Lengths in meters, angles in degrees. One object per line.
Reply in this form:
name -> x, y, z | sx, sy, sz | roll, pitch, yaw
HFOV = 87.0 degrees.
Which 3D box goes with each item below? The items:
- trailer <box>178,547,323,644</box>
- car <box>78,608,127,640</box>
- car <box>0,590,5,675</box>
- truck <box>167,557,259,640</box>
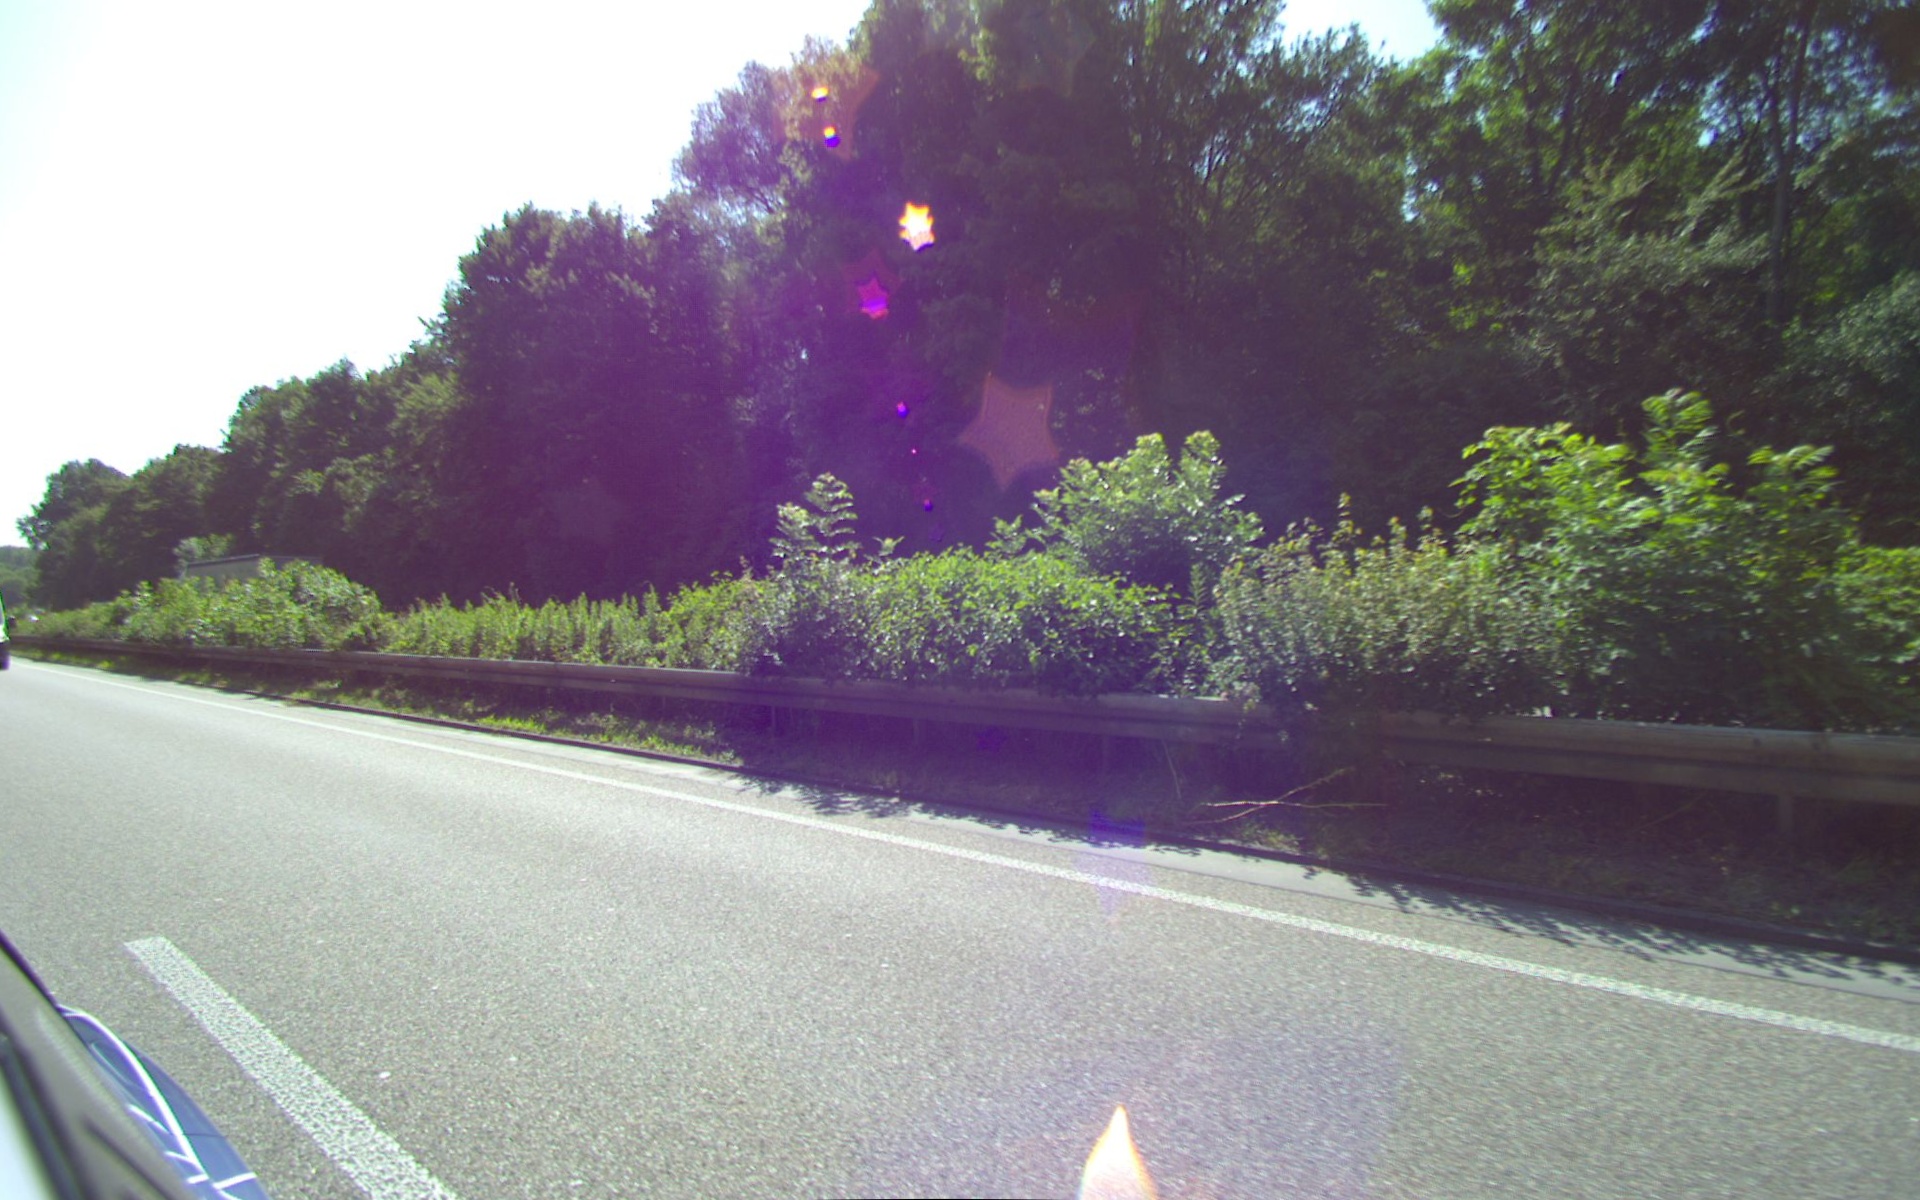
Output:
trailer -> -35.913, -0.128, 50.889 | 13.657, 4.332, 2.799 | -1, 0, 41
car -> -47.576, 1.320, 56.136 | 3.480, 1.719, 1.590 | -1, 0, 42
car -> -30.037, 0.972, 30.031 | 4.635, 2.462, 2.020 | -1, 0, 41
truck -> -40.814, -0.070, 55.250 | 6.534, 4.276, 2.689 | -1, 0, 41
